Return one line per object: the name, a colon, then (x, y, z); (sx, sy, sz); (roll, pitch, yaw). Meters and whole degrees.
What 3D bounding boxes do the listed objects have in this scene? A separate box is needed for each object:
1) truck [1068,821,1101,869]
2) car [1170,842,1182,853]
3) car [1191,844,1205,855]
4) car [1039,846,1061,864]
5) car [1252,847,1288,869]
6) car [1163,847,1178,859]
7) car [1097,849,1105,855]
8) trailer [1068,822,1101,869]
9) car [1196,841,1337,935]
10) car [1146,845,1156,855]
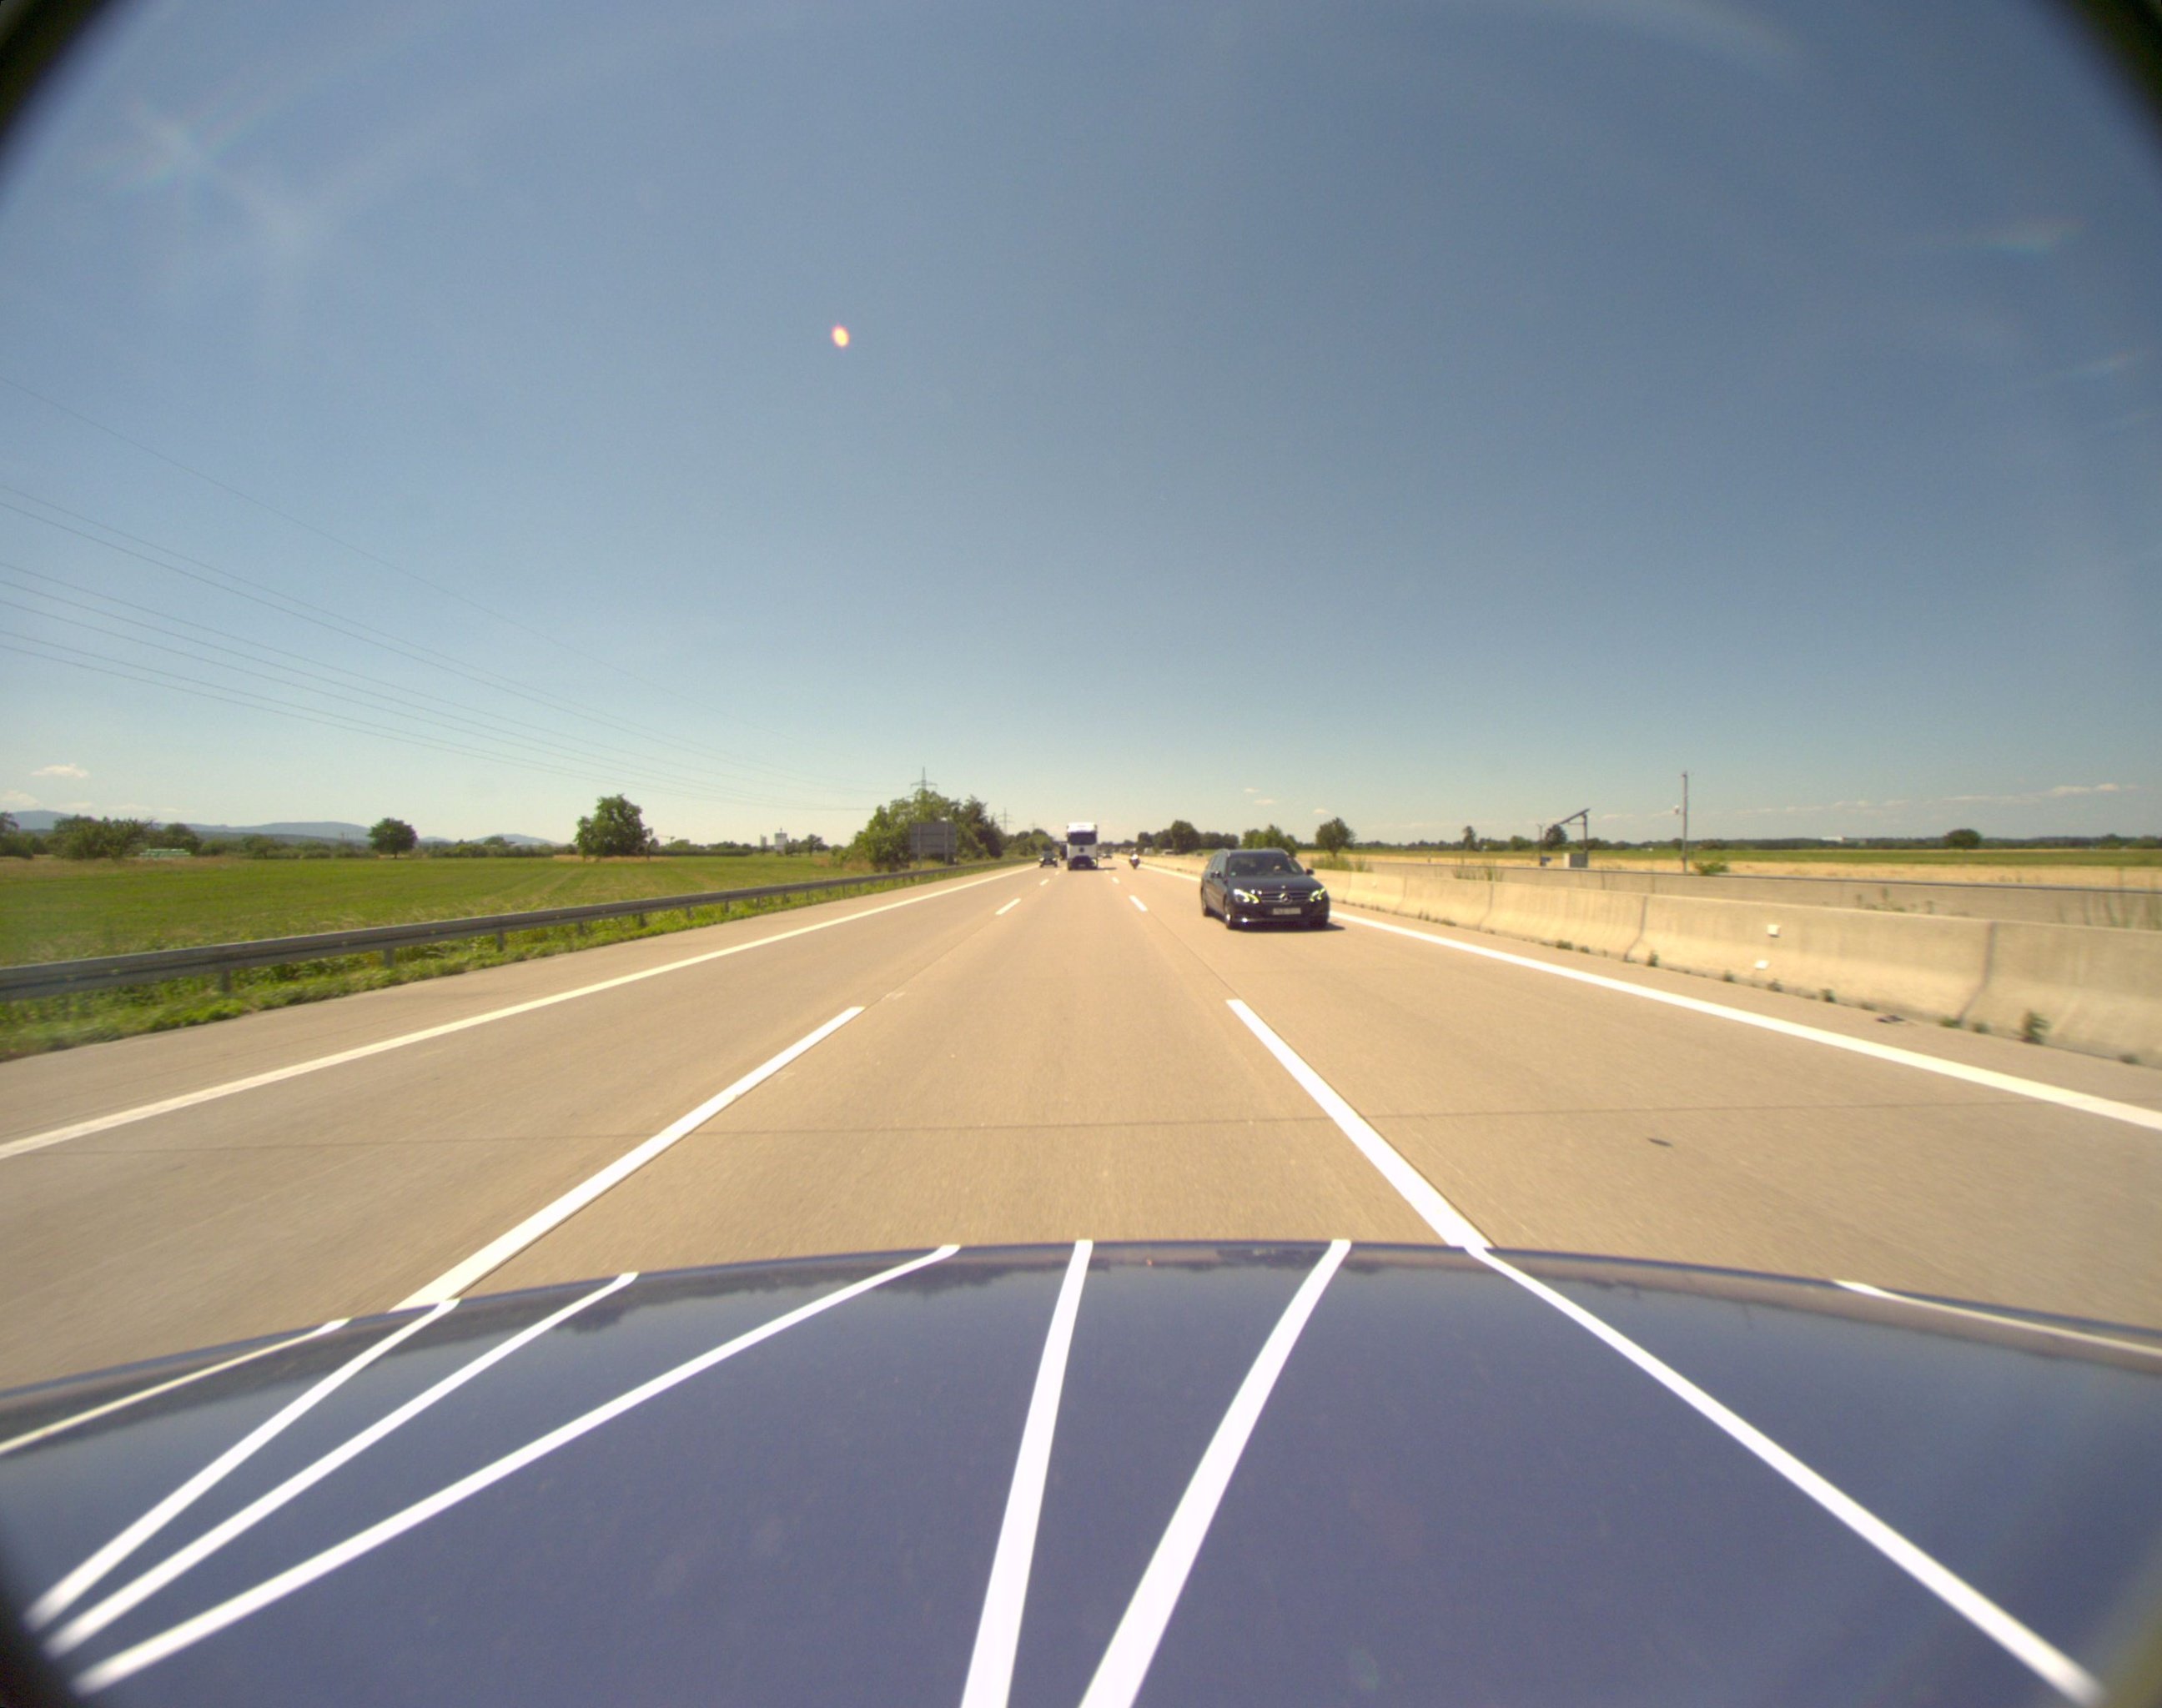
truck: (0.272, -0.738, 64.135); (2.587, 3.855, 4.983); (-2, 1, 0)
car: (18.576, -1.261, 148.675); (1.998, 1.903, 4.402); (-2, 0, 2)
car: (21.079, -0.837, 136.733); (1.998, 1.772, 4.000); (-2, 0, 3)
car: (-3.364, 0.102, 82.360); (1.998, 1.772, 4.000); (-2, 0, 3)
car: (17.586, 0.352, 70.857); (1.999, 1.827, 4.815); (-2, 0, -2)
car: (14.160, -0.178, 120.255); (1.910, 1.849, 4.000); (-2, 0, 2)
car: (5.670, -0.601, 216.330); (1.999, 1.827, 4.815); (-2, 0, -2)
trailer: (0.291, -0.754, 69.411); (2.587, 3.855, 10.372); (-2, 0, 0)
car: (3.518, 0.582, 15.176); (1.848, 1.576, 3.940); (-2, 0, 1)
car: (19.744, -1.122, 213.151); (2.218, 2.505, 6.124); (-2, 0, 1)
